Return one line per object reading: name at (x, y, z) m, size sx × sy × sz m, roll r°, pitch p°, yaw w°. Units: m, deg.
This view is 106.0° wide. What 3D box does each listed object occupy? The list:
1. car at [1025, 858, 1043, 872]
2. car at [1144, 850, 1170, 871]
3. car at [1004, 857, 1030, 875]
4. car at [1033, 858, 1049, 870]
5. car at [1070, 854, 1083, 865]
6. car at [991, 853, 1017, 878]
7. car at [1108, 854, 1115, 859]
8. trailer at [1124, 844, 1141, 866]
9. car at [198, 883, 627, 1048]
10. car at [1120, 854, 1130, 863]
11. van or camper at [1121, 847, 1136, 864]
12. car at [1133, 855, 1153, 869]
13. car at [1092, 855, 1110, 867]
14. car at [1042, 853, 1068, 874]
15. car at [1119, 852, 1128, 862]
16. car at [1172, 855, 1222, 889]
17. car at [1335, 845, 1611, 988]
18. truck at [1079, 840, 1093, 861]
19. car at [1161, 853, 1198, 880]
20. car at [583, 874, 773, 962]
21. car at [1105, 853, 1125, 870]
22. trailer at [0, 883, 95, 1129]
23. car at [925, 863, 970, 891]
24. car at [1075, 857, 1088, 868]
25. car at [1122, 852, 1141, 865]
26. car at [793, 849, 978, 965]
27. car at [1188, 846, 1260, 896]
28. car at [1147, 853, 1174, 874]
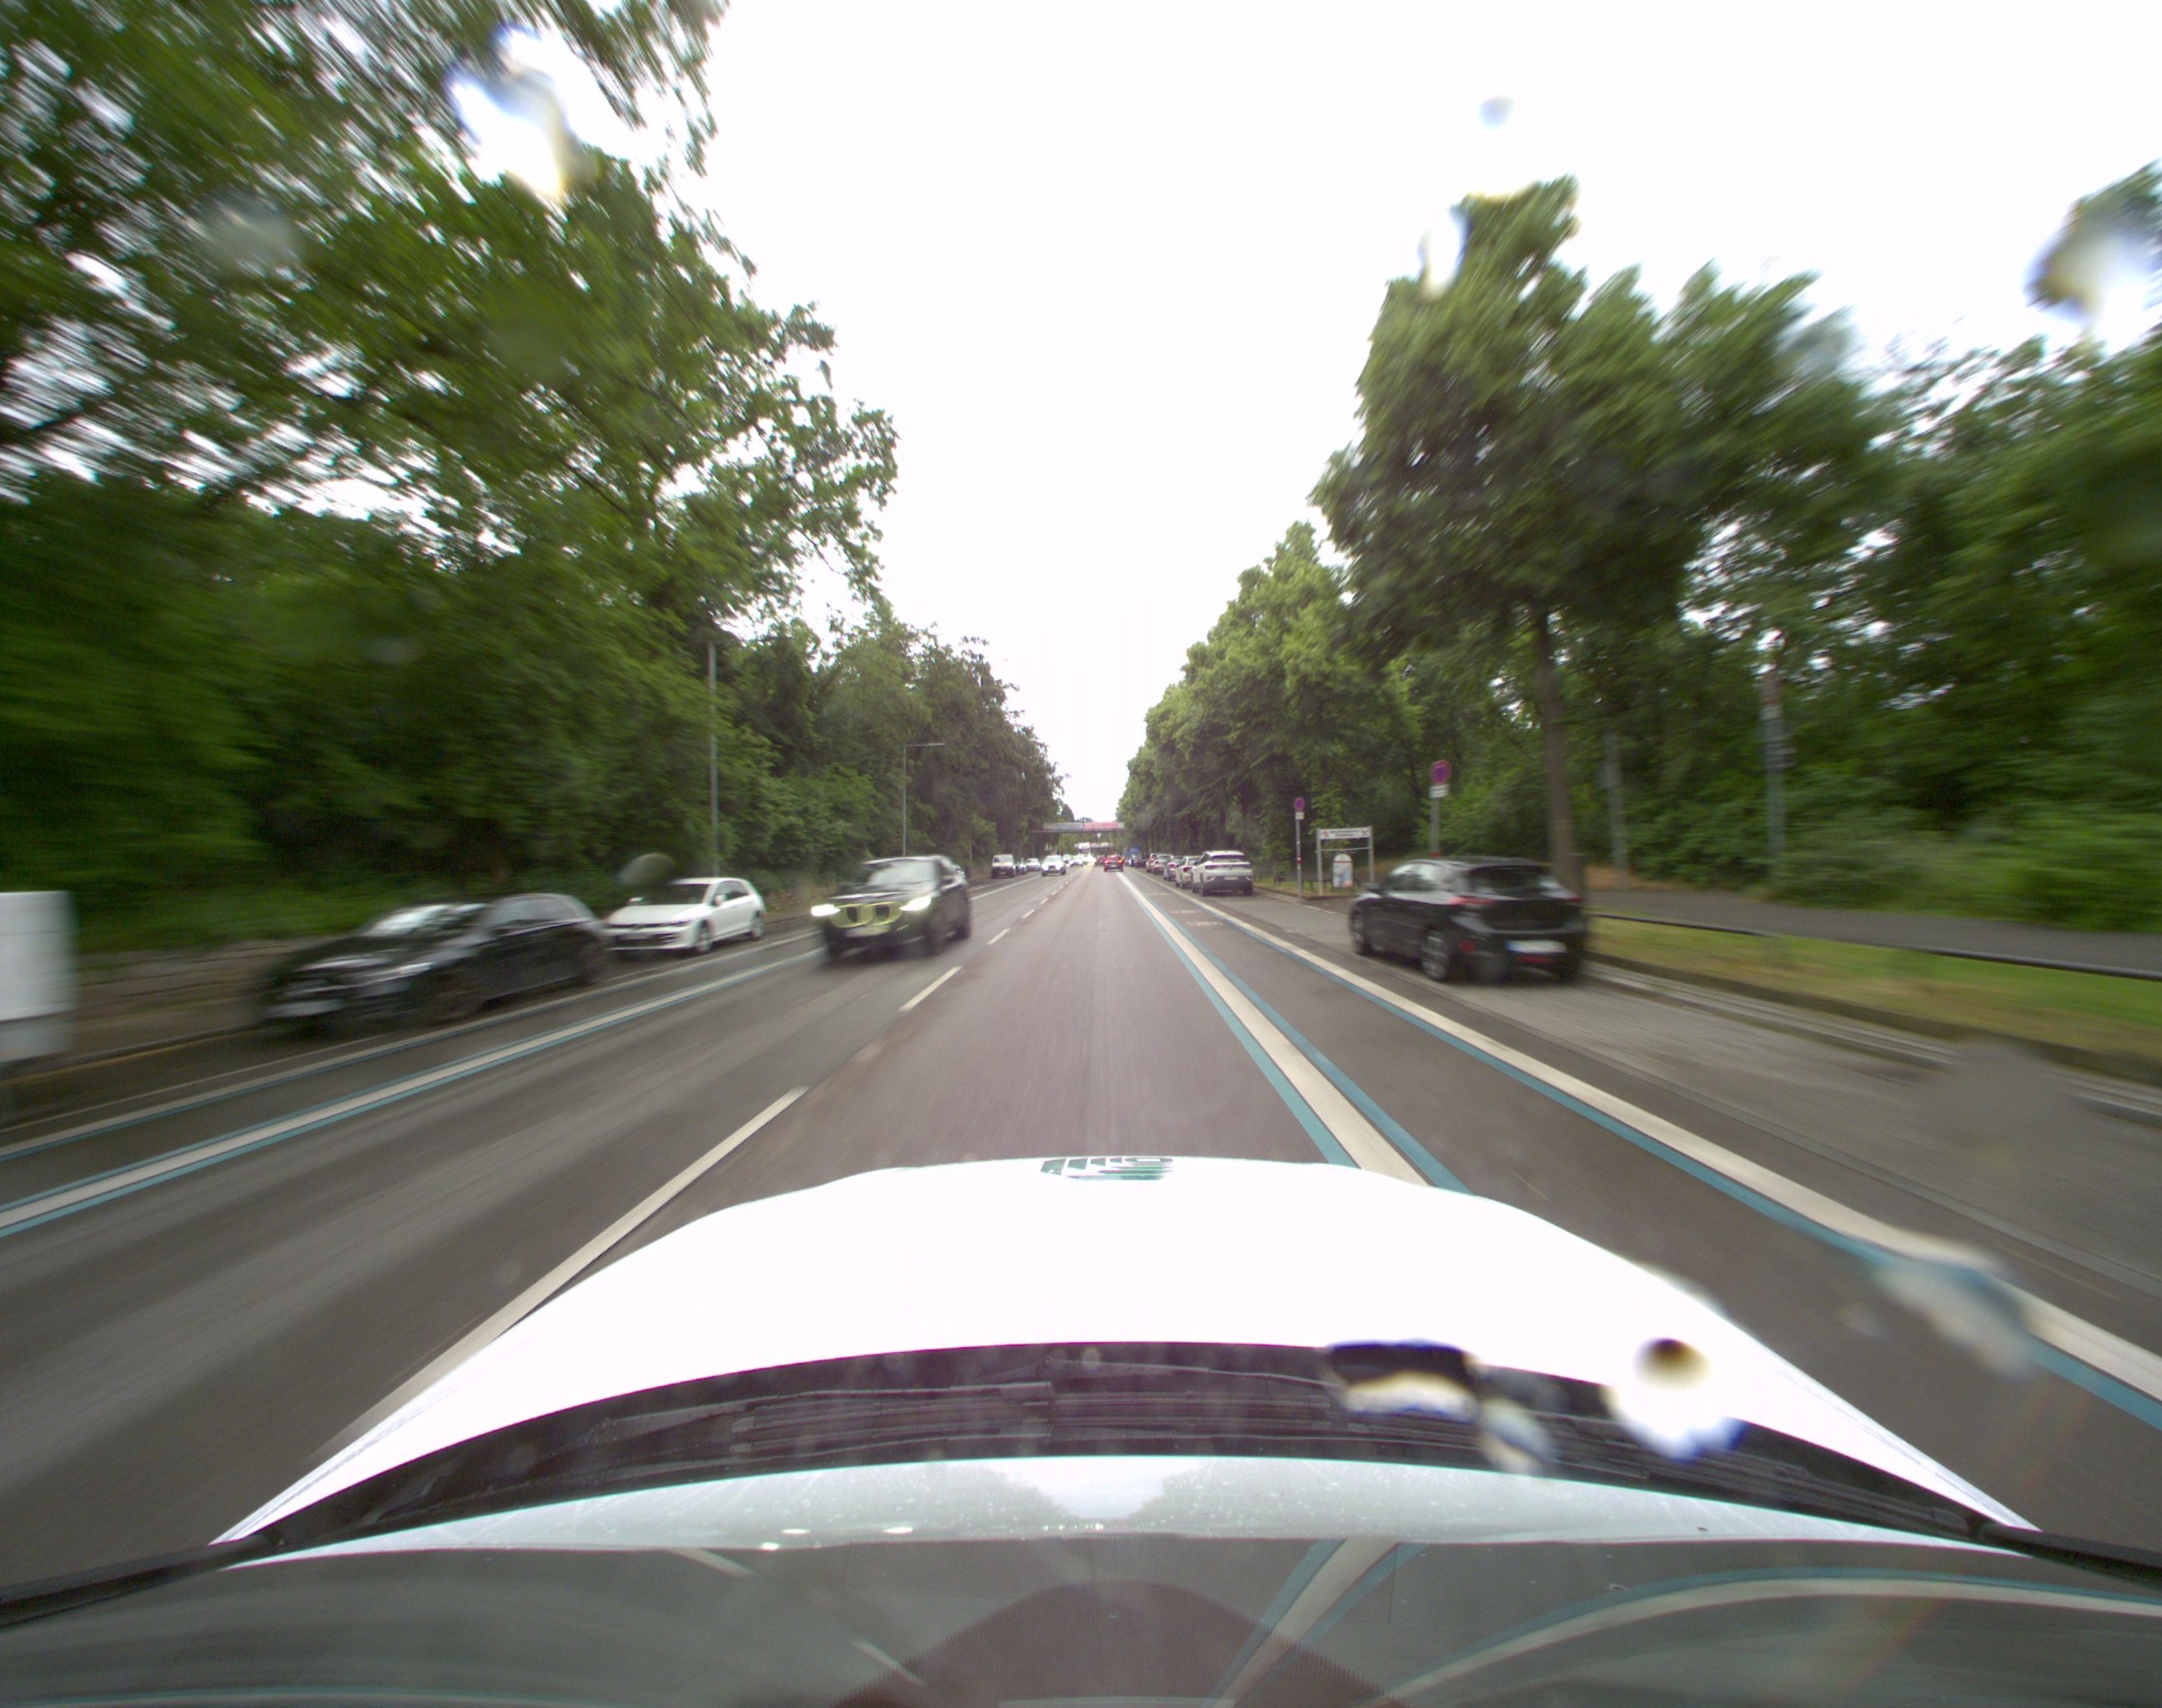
car at (-5.522, 1.298, 95.768) m, size 1.784 × 1.482 × 3.981 m, roll -2°, pitch 0°, yaw -1°
car at (6.219, 0.534, 66.848) m, size 1.747 × 1.597 × 4.741 m, roll -1°, pitch 0°, yaw 1°
car at (-6.171, 1.166, 79.083) m, size 2.003 × 1.605 × 4.780 m, roll -2°, pitch 0°, yaw 0°
car at (-5.208, 1.258, 106.222) m, size 1.826 × 1.477 × 4.038 m, roll -2°, pitch 0°, yaw -2°
car at (-0.601, 0.759, 115.205) m, size 1.770 × 1.466 × 4.063 m, roll -4°, pitch 0°, yaw 0°
car at (-6.581, 0.981, 70.159) m, size 1.969 × 2.005 × 5.013 m, roll -1°, pitch 0°, yaw -3°
car at (8.850, 0.717, 235.986) m, size 1.724 × 1.583 × 4.039 m, roll -2°, pitch 0°, yaw 3°
trailer at (6.579, 0.137, 104.878) m, size 1.945 × 2.758 × 4.008 m, roll -1°, pitch 0°, yaw 1°
car at (-7.916, 1.189, 10.364) m, size 1.816 × 1.398 × 4.443 m, roll -2°, pitch 0°, yaw -2°
car at (8.505, 0.883, 156.965) m, size 1.749 × 1.590 × 4.500 m, roll 0°, pitch 0°, yaw 2°
van or camper at (7.885, 0.229, 135.862) m, size 2.035 × 2.729 × 6.900 m, roll 0°, pitch 0°, yaw 1°
car at (6.834, 0.885, 90.111) m, size 1.819 × 1.503 × 4.571 m, roll -1°, pitch 0°, yaw 1°
car at (2.581, 0.879, 106.943) m, size 2.134 × 1.492 × 4.497 m, roll 0°, pitch 0°, yaw -1°
car at (-2.170, 0.782, 68.223) m, size 1.947 × 1.639 × 4.445 m, roll -2°, pitch 0°, yaw 1°
car at (9.174, 0.589, 175.386) m, size 1.919 × 2.022 × 4.665 m, roll 0°, pitch 0°, yaw 2°
car at (5.192, 0.778, 36.791) m, size 1.692 × 1.453 × 3.945 m, roll -1°, pitch 0°, yaw 0°
car at (4.840, 0.668, 10.752) m, size 1.690 × 1.476 × 3.997 m, roll -2°, pitch 0°, yaw 0°
truck at (1.005, -0.704, 169.344) m, size 2.509 × 4.046 × 4.916 m, roll -4°, pitch 0°, yaw 0°
car at (5.651, 0.704, 47.122) m, size 1.692 × 1.453 × 4.097 m, roll -1°, pitch 0°, yaw 0°
car at (-8.162, 1.216, 17.005) m, size 1.749 × 1.435 × 4.356 m, roll -2°, pitch 0°, yaw 0°
car at (3.168, 0.701, 75.523) m, size 1.811 × 1.508 × 4.141 m, roll -1°, pitch 0°, yaw 2°
trailer at (-8.375, 1.082, 5.419) m, size 1.334 × 1.657 × 2.280 m, roll -2°, pitch 0°, yaw 39°
car at (-7.391, 1.235, 45.370) m, size 1.683 × 1.405 × 4.030 m, roll -1°, pitch 0°, yaw 2°
car at (0.076, 1.345, 130.512) m, size 1.954 × 1.617 × 4.467 m, roll -3°, pitch 0°, yaw 1°
car at (6.101, 0.539, 99.071) m, size 1.894 × 1.547 × 4.753 m, roll 0°, pitch 0°, yaw -1°
car at (-3.242, 0.800, 14.580) m, size 2.030 × 1.649 × 4.479 m, roll -3°, pitch 0°, yaw 2°
car at (5.289, 0.597, 30.722) m, size 1.986 × 1.662 × 4.564 m, roll -2°, pitch 0°, yaw 2°
car at (5.869, 0.664, 60.677) m, size 1.691 × 1.513 × 4.471 m, roll -1°, pitch 0°, yaw 2°
